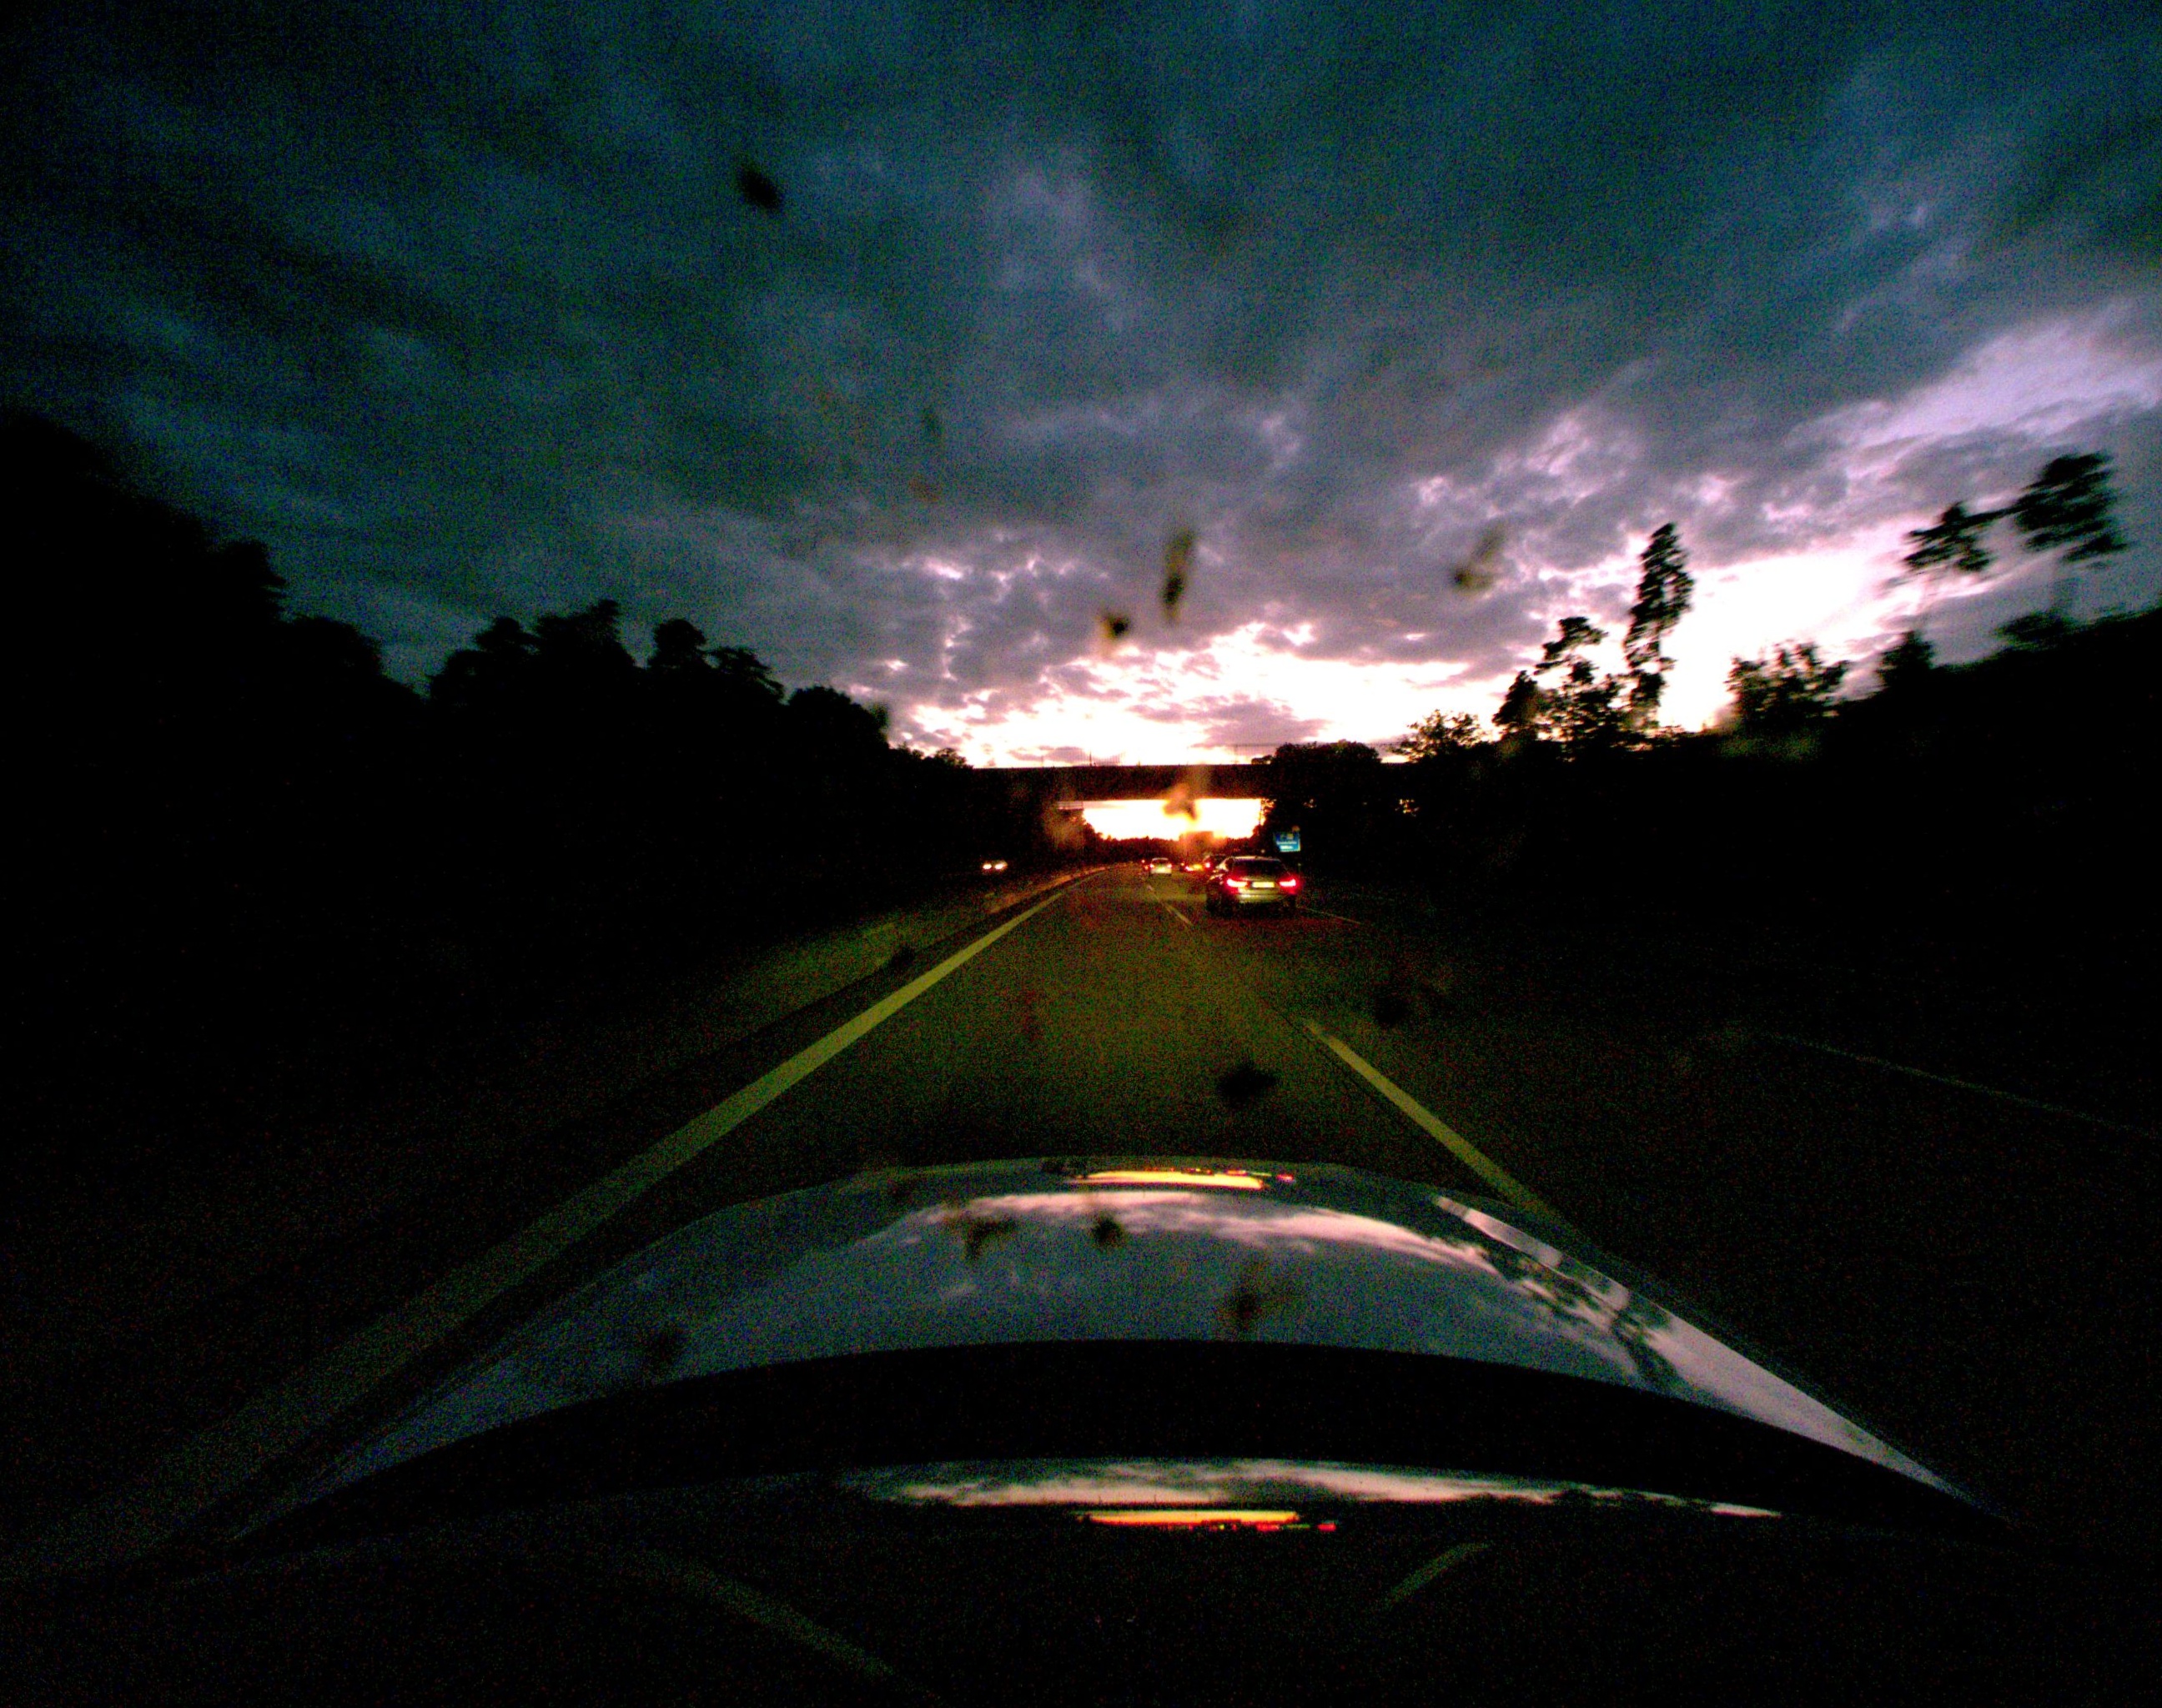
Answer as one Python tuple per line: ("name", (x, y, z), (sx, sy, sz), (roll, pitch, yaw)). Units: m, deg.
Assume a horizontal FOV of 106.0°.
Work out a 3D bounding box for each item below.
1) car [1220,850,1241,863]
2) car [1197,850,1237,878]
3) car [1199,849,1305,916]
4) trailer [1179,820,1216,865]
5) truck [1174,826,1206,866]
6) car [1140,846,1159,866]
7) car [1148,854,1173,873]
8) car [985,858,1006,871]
("car", (16.744, 0.281, 91.190), (1.851, 1.442, 4.116), (-1, -1, 4))
("car", (8.448, 0.634, 50.914), (1.895, 1.643, 5.055), (-1, -1, 3))
("car", (4.430, 0.658, 21.934), (1.902, 1.537, 5.234), (-1, 1, 2))
("trailer", (11.437, -0.999, 81.027), (2.894, 4.101, 10.367), (0, -1, 4))
("truck", (12.155, -0.730, 91.562), (2.872, 4.101, 10.842), (0, -1, 4))
("car", (8.485, 0.281, 99.978), (2.155, 2.419, 5.573), (-1, -1, 6))
("car", (6.292, 0.744, 64.959), (1.851, 1.442, 3.725), (-1, 1, 4))
("car", (-10.494, 1.248, 100.118), (1.804, 1.520, 4.433), (-1, 1, 2))
